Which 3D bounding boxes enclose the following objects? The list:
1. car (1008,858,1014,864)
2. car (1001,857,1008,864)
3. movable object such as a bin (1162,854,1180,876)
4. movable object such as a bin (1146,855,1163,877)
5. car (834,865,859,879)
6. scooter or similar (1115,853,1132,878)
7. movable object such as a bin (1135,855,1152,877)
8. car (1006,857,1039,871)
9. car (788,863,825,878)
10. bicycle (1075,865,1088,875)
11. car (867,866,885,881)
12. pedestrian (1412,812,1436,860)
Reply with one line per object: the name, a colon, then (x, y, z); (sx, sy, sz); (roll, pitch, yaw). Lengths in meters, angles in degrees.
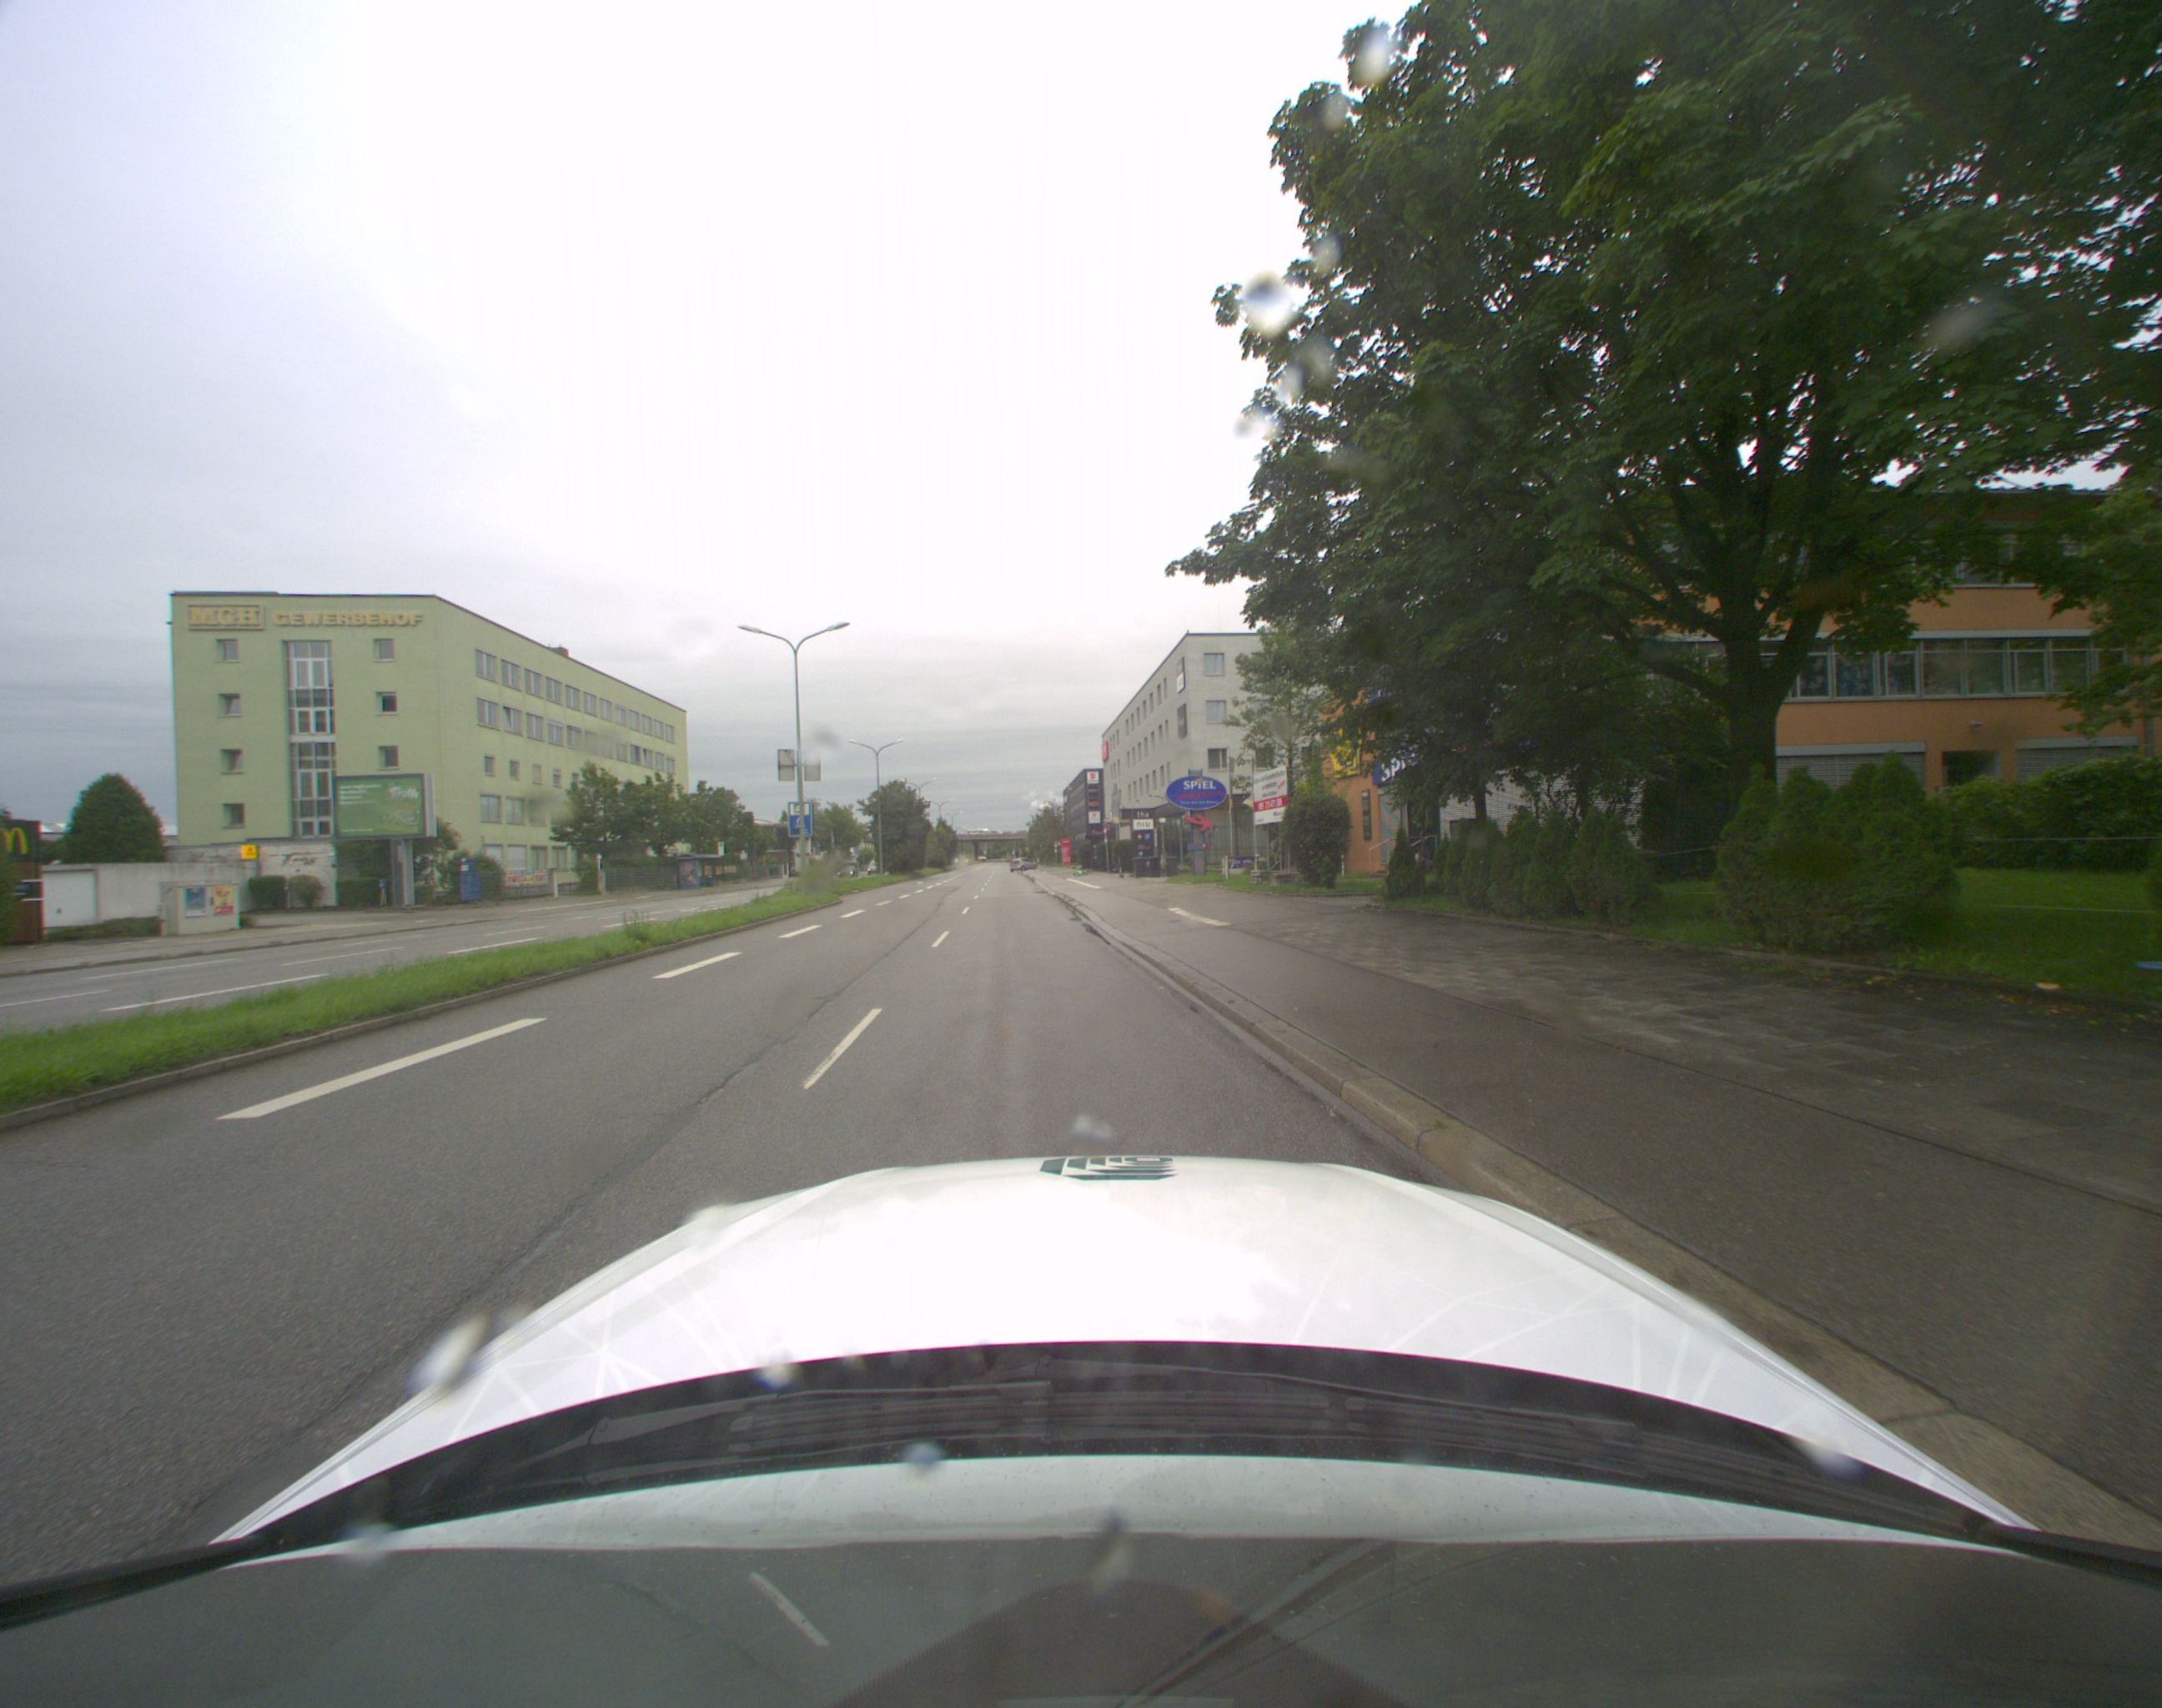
car: (-20.363, 2.069, 236.140); (1.733, 1.548, 4.295); (-1, 0, -6)
car: (-22.270, 1.929, 236.155); (1.809, 2.013, 3.828); (-1, 0, -4)
movable object such as a bin: (4.649, 0.556, 41.954); (0.736, 1.078, 0.654); (-4, 0, -5)
movable object such as a bin: (3.768, 0.613, 41.749); (0.736, 1.078, 0.654); (-4, 0, -5)
car: (-27.918, 2.123, 97.050); (1.992, 1.401, 4.643); (-4, 0, -7)
scooter or similar: (2.310, 0.604, 44.515); (0.585, 1.277, 1.401); (-7, 0, -5)
movable object such as a bin: (3.264, 0.608, 42.412); (0.736, 1.078, 0.654); (-4, 0, -5)
car: (-7.065, 1.228, 98.701); (1.796, 1.557, 4.052); (-1, 0, 33)
car: (-39.374, 2.306, 116.705); (4.660, 1.842, 1.784); (-4, 0, -29)
bicycle: (0.028, 1.084, 54.873); (0.719, 0.548, 1.729); (-6, 0, -6)
car: (-30.263, 2.912, 120.449); (1.992, 1.960, 4.314); (-4, 0, -7)
pedestrian: (12.737, -0.673, 30.271); (0.653, 1.712, 0.666); (-4, 0, 18)
